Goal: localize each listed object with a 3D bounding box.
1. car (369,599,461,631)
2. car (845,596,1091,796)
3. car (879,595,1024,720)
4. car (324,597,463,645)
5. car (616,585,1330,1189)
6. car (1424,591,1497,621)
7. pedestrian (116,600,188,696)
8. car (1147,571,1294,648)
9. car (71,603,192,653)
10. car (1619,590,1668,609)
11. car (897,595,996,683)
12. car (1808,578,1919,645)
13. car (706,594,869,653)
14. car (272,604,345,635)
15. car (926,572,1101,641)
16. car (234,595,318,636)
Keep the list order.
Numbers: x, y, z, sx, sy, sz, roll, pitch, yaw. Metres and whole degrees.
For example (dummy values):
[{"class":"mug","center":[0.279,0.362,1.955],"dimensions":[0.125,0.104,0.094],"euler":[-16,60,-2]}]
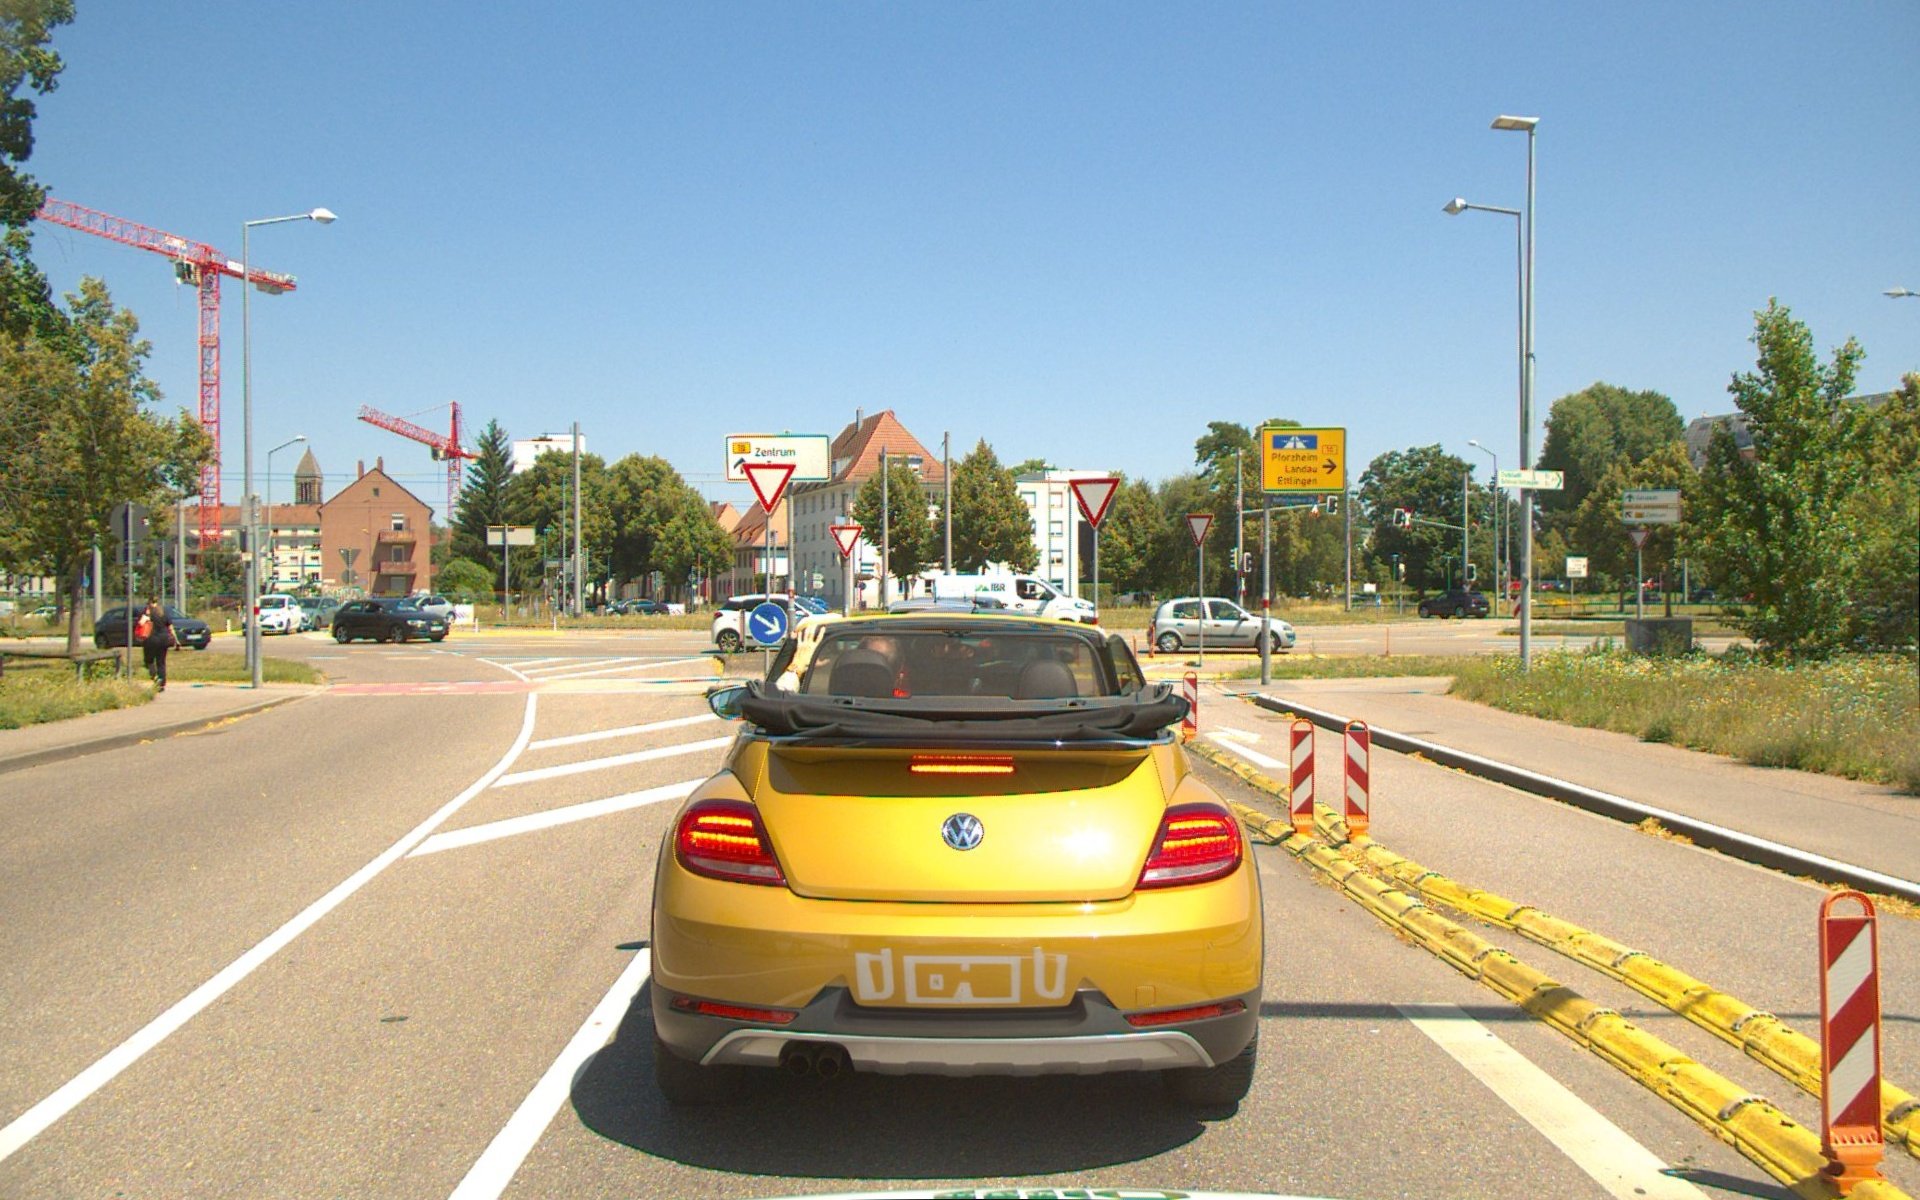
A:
[{"class":"car","center":[-26.563,0.709,80.747],"dimensions":[1.676,1.526,4.210],"euler":[0,0,31]},{"class":"car","center":[0.033,0.712,14.207],"dimensions":[1.810,1.467,3.999],"euler":[0,0,-1]},{"class":"car","center":[-0.131,0.681,21.473],"dimensions":[1.701,1.467,3.999],"euler":[0,0,-1]},{"class":"car","center":[-18.248,0.655,53.223],"dimensions":[4.107,1.467,1.997],"euler":[0,0,29]},{"class":"car","center":[0.002,0.694,5.883],"dimensions":[1.717,1.447,3.776],"euler":[0,0,-1]},{"class":"car","center":[29.049,0.348,96.184],"dimensions":[1.914,1.701,4.175],"euler":[-1,0,-21]},{"class":"pedestrian","center":[-13.708,0.803,28.064],"dimensions":[0.860,1.590,0.807],"euler":[0,0,39]},{"class":"car","center":[6.553,0.240,41.718],"dimensions":[3.588,1.882,1.634],"euler":[0,0,8]},{"class":"car","center":[-25.958,0.842,51.805],"dimensions":[4.142,1.467,1.989],"euler":[0,0,41]},{"class":"car","center":[63.648,-0.021,154.038],"dimensions":[3.923,1.744,1.991],"euler":[0,0,-17]},{"class":"car","center":[-0.262,0.667,30.457],"dimensions":[1.701,1.503,3.999],"euler":[0,0,-1]},{"class":"car","center":[23.801,0.285,41.375],"dimensions":[4.340,1.624,2.001],"euler":[0,0,18]},{"class":"car","center":[-4.454,0.606,42.903],"dimensions":[3.922,1.470,1.634],"euler":[0,0,8]},{"class":"car","center":[-27.815,0.814,70.748],"dimensions":[1.672,1.258,3.785],"euler":[0,0,-1]},{"class":"car","center":[1.573,0.182,47.279],"dimensions":[4.865,1.882,2.001],"euler":[0,0,5]},{"class":"car","center":[-27.120,0.592,65.727],"dimensions":[1.720,1.576,3.999],"euler":[0,0,-1]}]
